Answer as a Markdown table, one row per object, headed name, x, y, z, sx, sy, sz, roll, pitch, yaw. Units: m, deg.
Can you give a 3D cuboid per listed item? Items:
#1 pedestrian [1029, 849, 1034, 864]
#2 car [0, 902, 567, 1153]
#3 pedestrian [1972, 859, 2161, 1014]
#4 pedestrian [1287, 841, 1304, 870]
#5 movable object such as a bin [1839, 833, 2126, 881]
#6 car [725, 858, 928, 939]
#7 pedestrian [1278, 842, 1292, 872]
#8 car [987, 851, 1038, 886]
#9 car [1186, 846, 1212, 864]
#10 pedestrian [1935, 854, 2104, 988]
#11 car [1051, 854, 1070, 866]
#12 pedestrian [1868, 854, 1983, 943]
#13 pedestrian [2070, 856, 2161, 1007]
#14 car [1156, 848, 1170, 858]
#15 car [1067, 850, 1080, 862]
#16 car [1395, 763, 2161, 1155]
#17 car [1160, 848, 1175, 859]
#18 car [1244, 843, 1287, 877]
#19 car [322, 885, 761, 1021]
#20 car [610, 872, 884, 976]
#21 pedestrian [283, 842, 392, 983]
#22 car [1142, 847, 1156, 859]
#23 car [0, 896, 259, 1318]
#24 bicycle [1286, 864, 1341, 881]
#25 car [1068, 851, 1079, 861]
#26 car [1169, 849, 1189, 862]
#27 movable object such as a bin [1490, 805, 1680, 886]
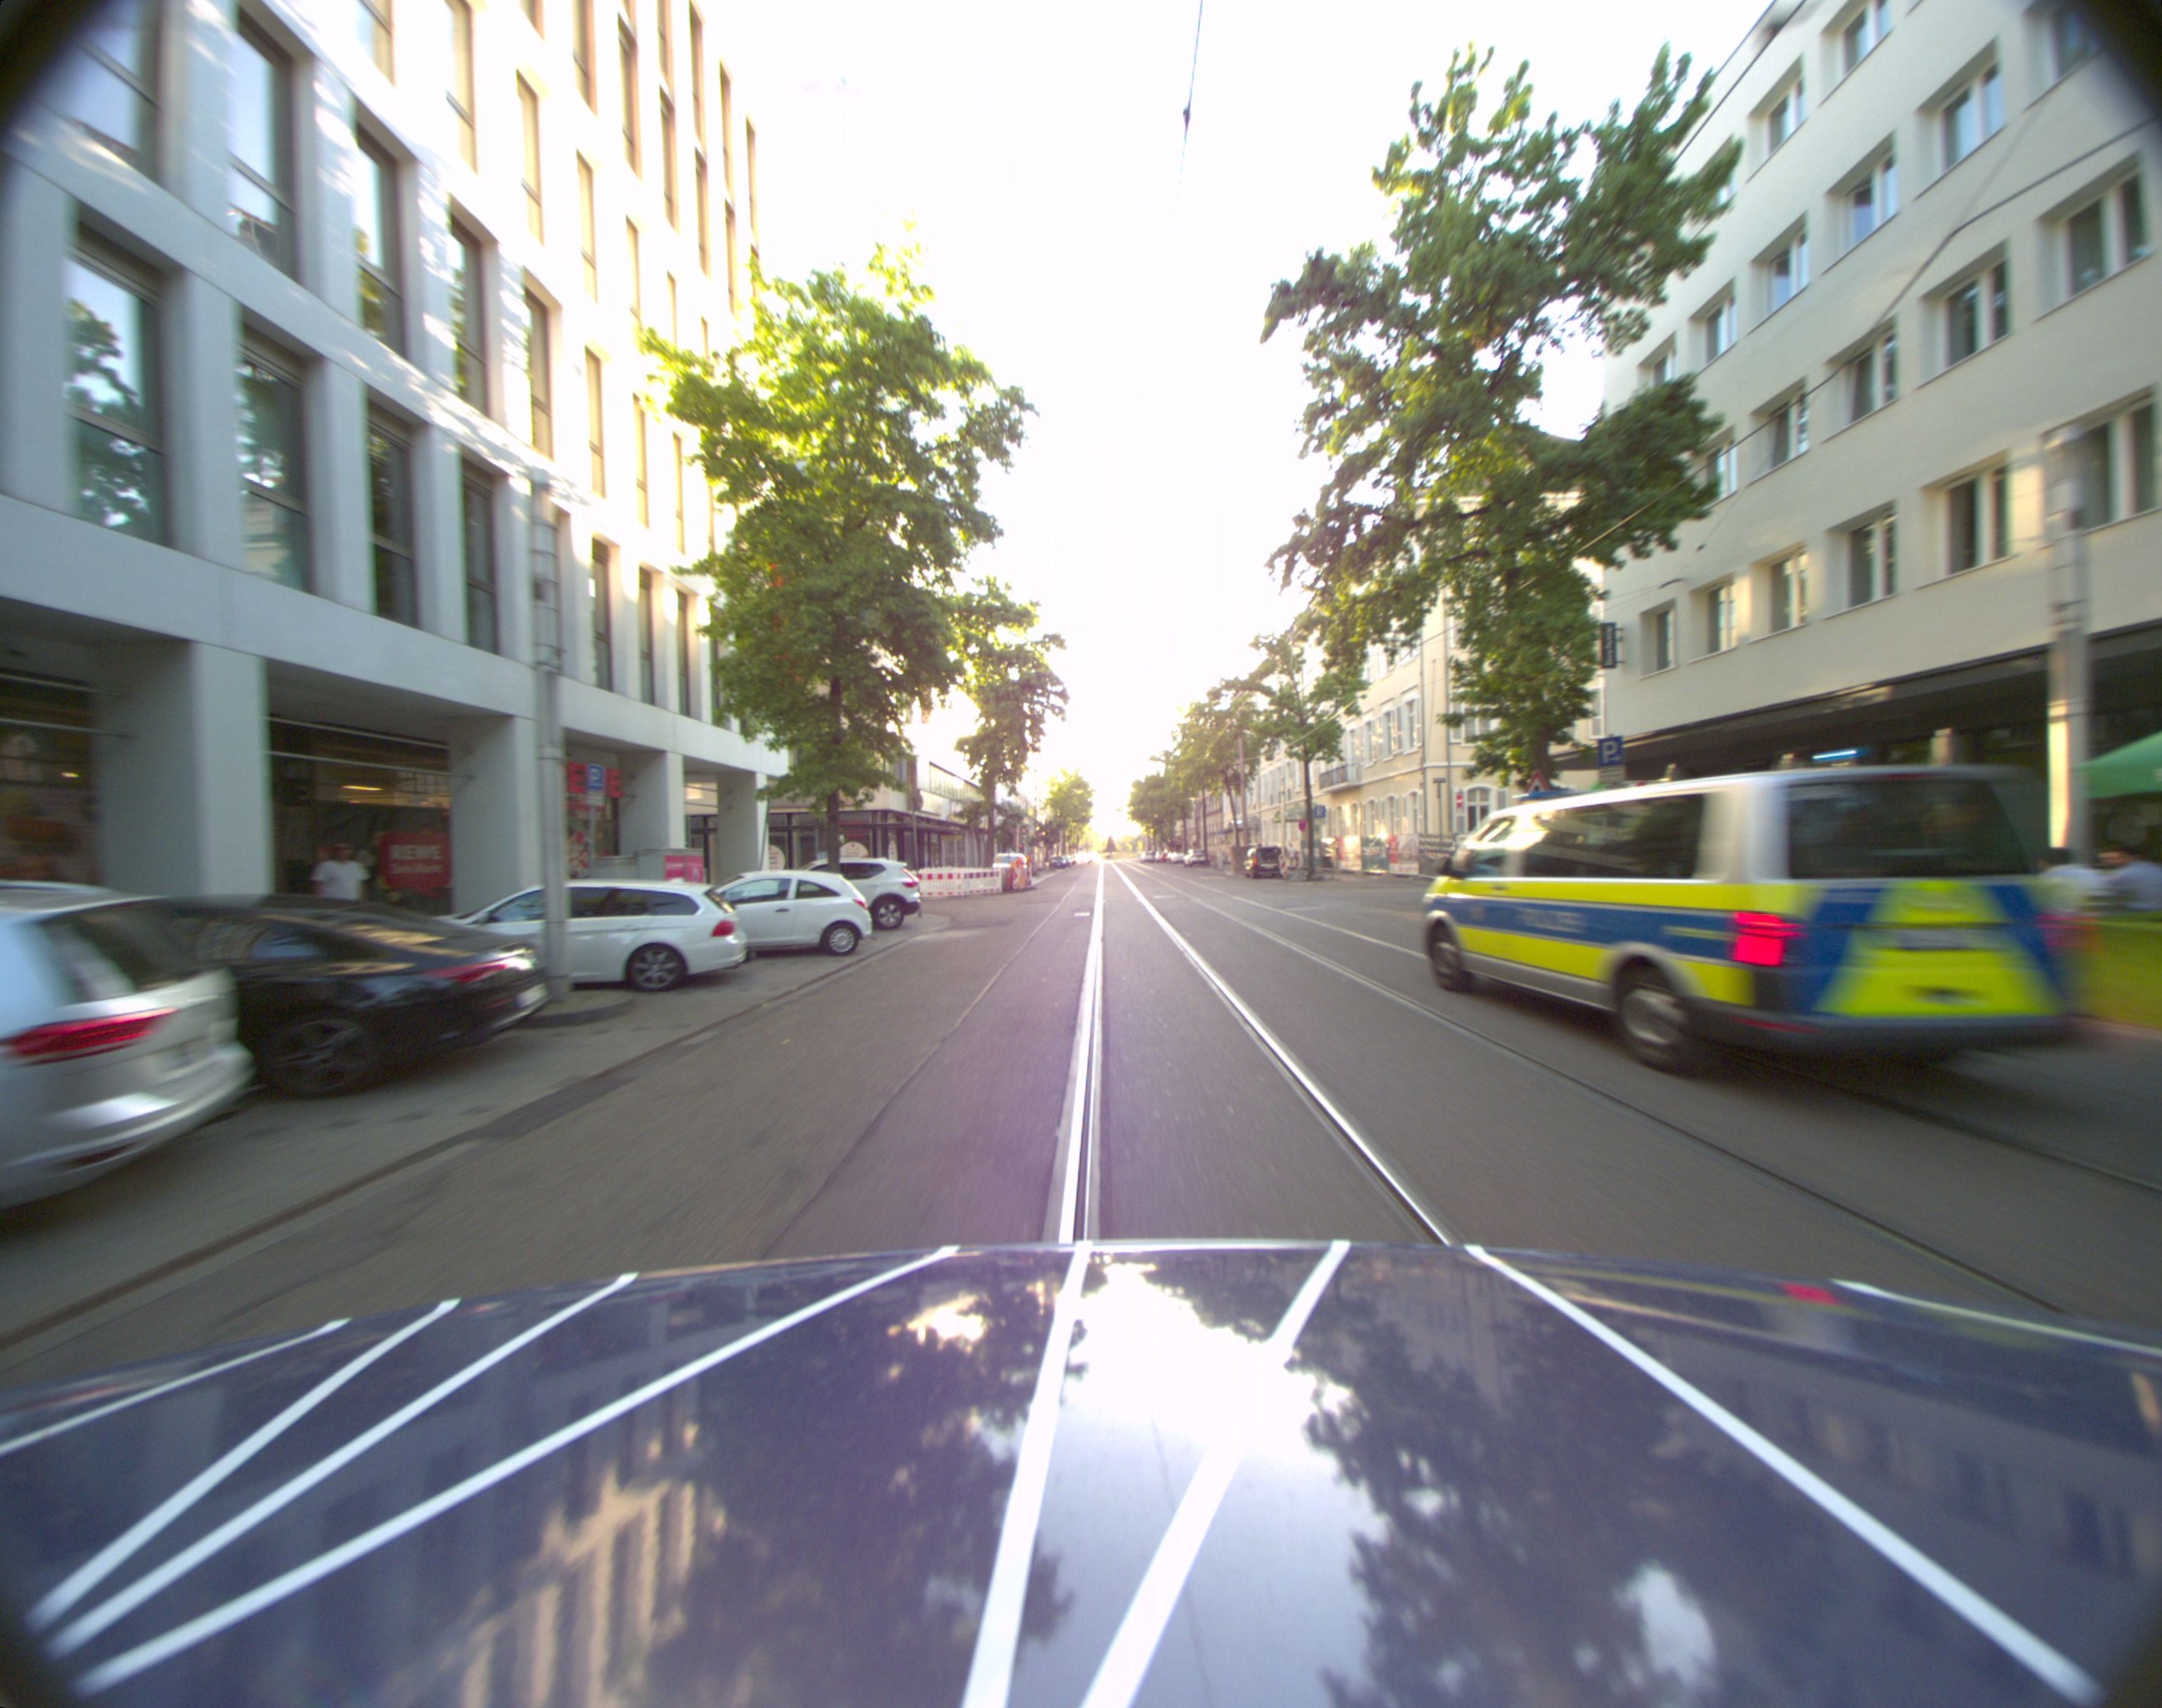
| name | x | y | z | sx | sy | sz | roll | pitch | yaw |
| --- | --- | --- | --- | --- | --- | --- | --- | --- | --- |
| pedestrian | -5.228 | 0.285 | 80.623 | 0.477 | 1.547 | 0.748 | -1 | 2 | 2 |
| car | -6.778 | 1.169 | 5.820 | 4.354 | 1.414 | 1.951 | 1 | 1 | -20 |
| pedestrian | 9.599 | 0.752 | 7.373 | 0.717 | 1.354 | 1.012 | -2 | 1 | 4 |
| pedestrian | 14.199 | 0.088 | 50.305 | 0.759 | 1.874 | 0.880 | -4 | 1 | 3 |
| movable object such as a bin | 33.678 | 0.082 | 28.620 | 7.288 | 1.655 | 2.899 | -1 | 1 | 0 |
| car | -5.937 | 0.965 | 17.810 | 4.278 | 1.662 | 1.948 | 1 | 2 | -23 |
| pedestrian | 13.448 | 0.194 | 50.087 | 0.679 | 1.874 | 0.769 | -4 | 1 | 3 |
| car | -3.593 | 0.722 | 40.565 | 1.998 | 1.761 | 4.671 | 1 | 0 | 4 |
| car | 11.704 | 0.100 | 75.587 | 1.998 | 1.727 | 4.105 | -2 | 0 | 2 |
| pedestrian | 10.275 | 0.699 | 8.359 | 0.717 | 1.354 | 0.924 | -2 | 1 | 4 |
| car | -2.278 | 0.664 | 85.295 | 2.002 | 1.354 | 4.105 | 0 | 0 | 2 |
| pedestrian | 13.330 | 0.677 | 12.027 | 0.849 | 1.312 | 0.882 | -2 | 2 | 6 |
| pedestrian | 10.347 | 0.719 | 7.172 | 0.717 | 1.354 | 1.012 | -2 | 1 | 4 |
| car | 13.019 | -0.156 | 120.176 | 1.998 | 1.540 | 4.106 | -2 | 0 | 4 |
| car | -1.130 | 0.342 | 112.346 | 1.902 | 1.683 | 4.104 | -2 | 0 | -1 |
| car | 4.582 | 0.533 | 6.324 | 1.998 | 1.965 | 4.850 | -2 | 0 | 1 |
| car | 13.001 | -0.125 | 114.176 | 1.998 | 1.567 | 4.106 | -2 | 0 | 4 |
| car | 10.500 | 0.328 | 43.523 | 1.771 | 1.754 | 3.879 | -4 | 0 | 5 |
| car | -6.614 | 1.152 | 9.966 | 4.355 | 1.414 | 1.825 | 1 | 0 | -21 |
| car | -5.662 | 1.090 | 13.116 | 4.074 | 1.493 | 1.791 | 1 | 1 | -28 |
| pedestrian | -10.407 | 0.794 | 10.653 | 0.805 | 1.885 | 0.682 | -2 | -1 | 3 |
| car | 10.350 | -0.211 | 115.934 | 1.998 | 1.727 | 4.106 | -2 | 0 | 4 |
| car | -6.735 | 1.088 | 2.804 | 4.684 | 1.630 | 1.950 | 0 | 1 | -34 |
| bicycle | 10.820 | 0.851 | 35.378 | 2.076 | 0.702 | 1.330 | -2 | 0 | -4 |
| car | -1.132 | 0.350 | 117.781 | 1.686 | 1.472 | 3.846 | -2 | 0 | 1 |
| car | 12.159 | 0.220 | 94.085 | 1.998 | 1.494 | 4.105 | -2 | 0 | 2 |
| movable object such as a bin | 19.181 | -0.327 | 29.171 | 5.561 | 2.856 | 2.643 | -1 | 1 | 0 |
